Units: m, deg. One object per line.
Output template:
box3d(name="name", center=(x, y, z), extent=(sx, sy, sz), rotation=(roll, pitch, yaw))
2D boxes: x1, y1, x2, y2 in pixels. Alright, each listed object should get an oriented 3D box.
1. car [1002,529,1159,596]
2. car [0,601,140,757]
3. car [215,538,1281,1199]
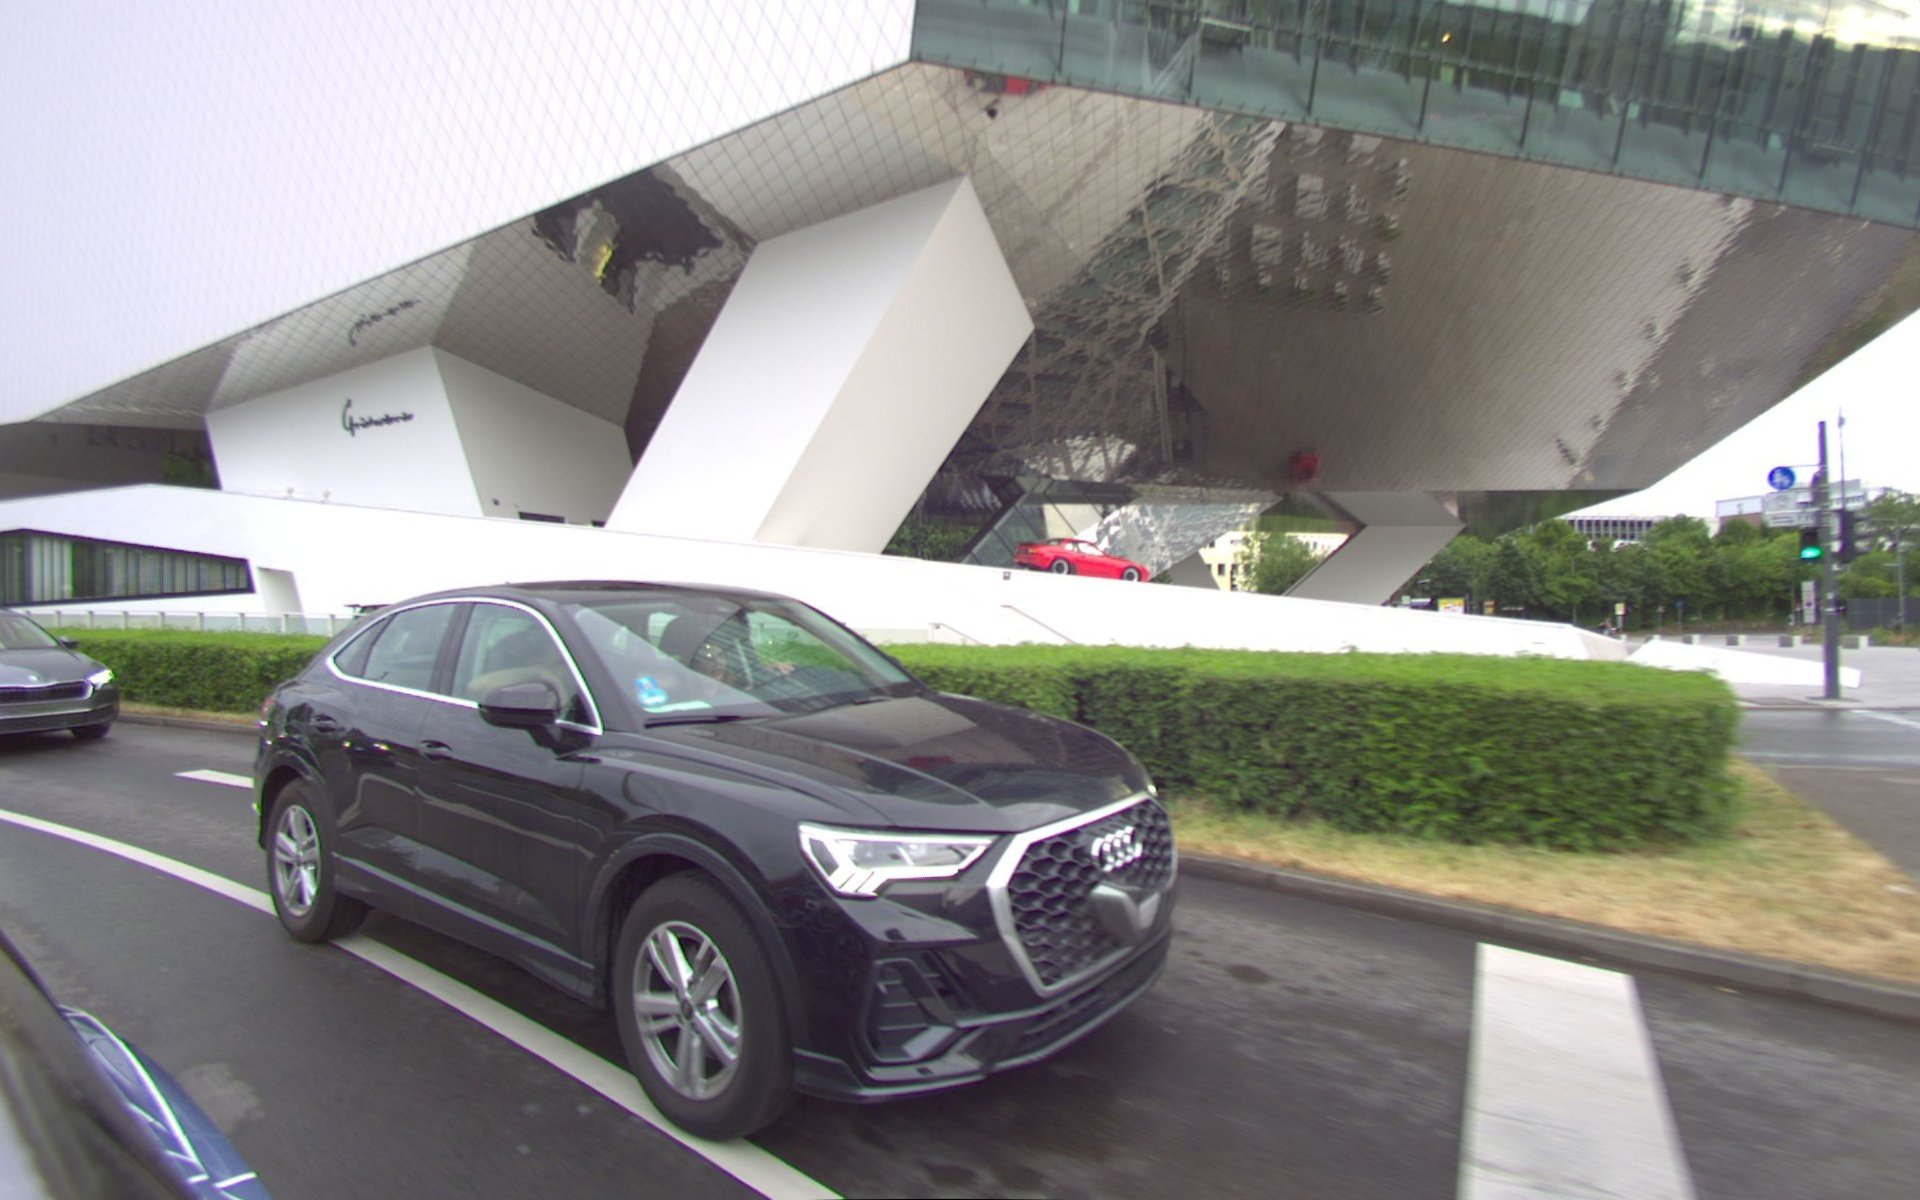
box3d(name="car", center=(3.632, -1.087, 30.711), extent=(4.173, 1.395, 2.006), rotation=(7, -3, -19))
box3d(name="car", center=(-10.823, 0.759, 10.717), extent=(4.282, 1.449, 1.801), rotation=(0, 1, 28))
box3d(name="car", center=(-1.180, 0.629, 4.046), extent=(4.388, 1.529, 1.736), rotation=(0, 1, 37))
